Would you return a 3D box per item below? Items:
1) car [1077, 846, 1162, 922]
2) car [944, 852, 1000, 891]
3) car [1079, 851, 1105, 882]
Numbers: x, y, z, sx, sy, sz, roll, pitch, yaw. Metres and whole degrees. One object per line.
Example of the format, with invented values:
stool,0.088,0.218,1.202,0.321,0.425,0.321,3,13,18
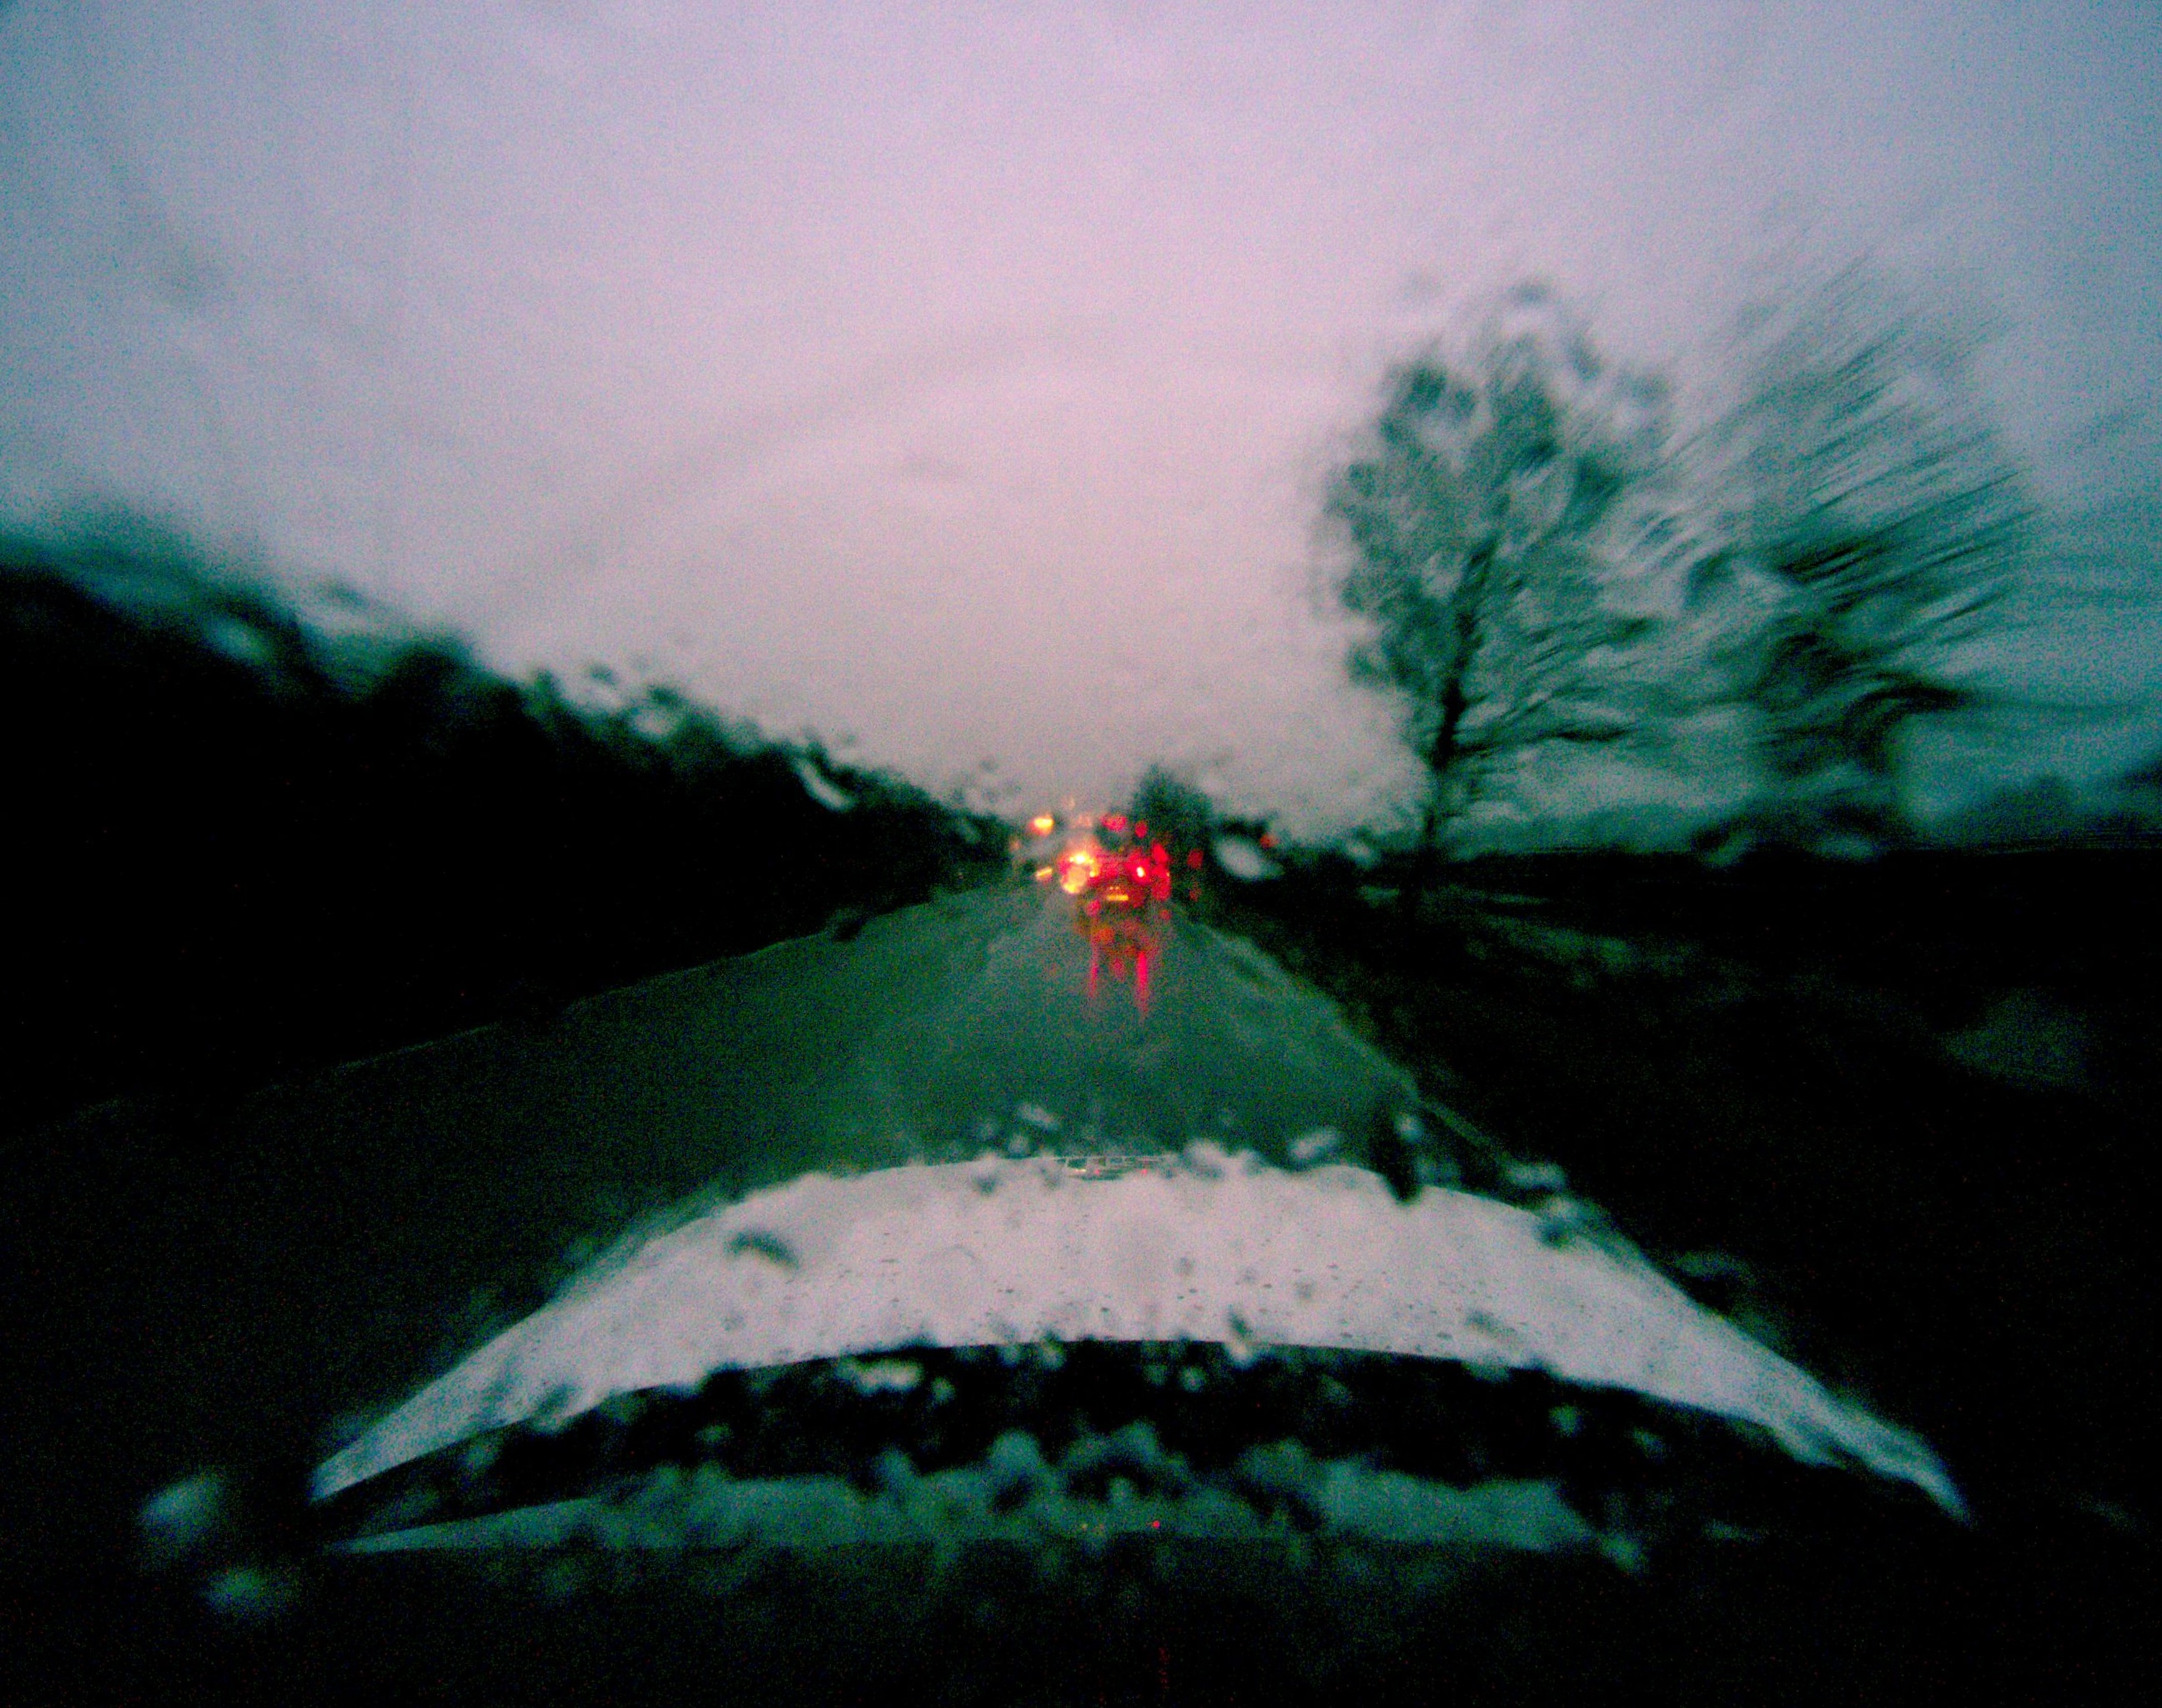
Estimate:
car,0.975,0.715,21.255,1.986,1.785,4.001,0,0,2
car,-5.098,0.797,38.721,1.986,1.785,4.001,0,0,2
car,0.740,0.780,51.984,1.568,1.875,3.710,0,0,2
